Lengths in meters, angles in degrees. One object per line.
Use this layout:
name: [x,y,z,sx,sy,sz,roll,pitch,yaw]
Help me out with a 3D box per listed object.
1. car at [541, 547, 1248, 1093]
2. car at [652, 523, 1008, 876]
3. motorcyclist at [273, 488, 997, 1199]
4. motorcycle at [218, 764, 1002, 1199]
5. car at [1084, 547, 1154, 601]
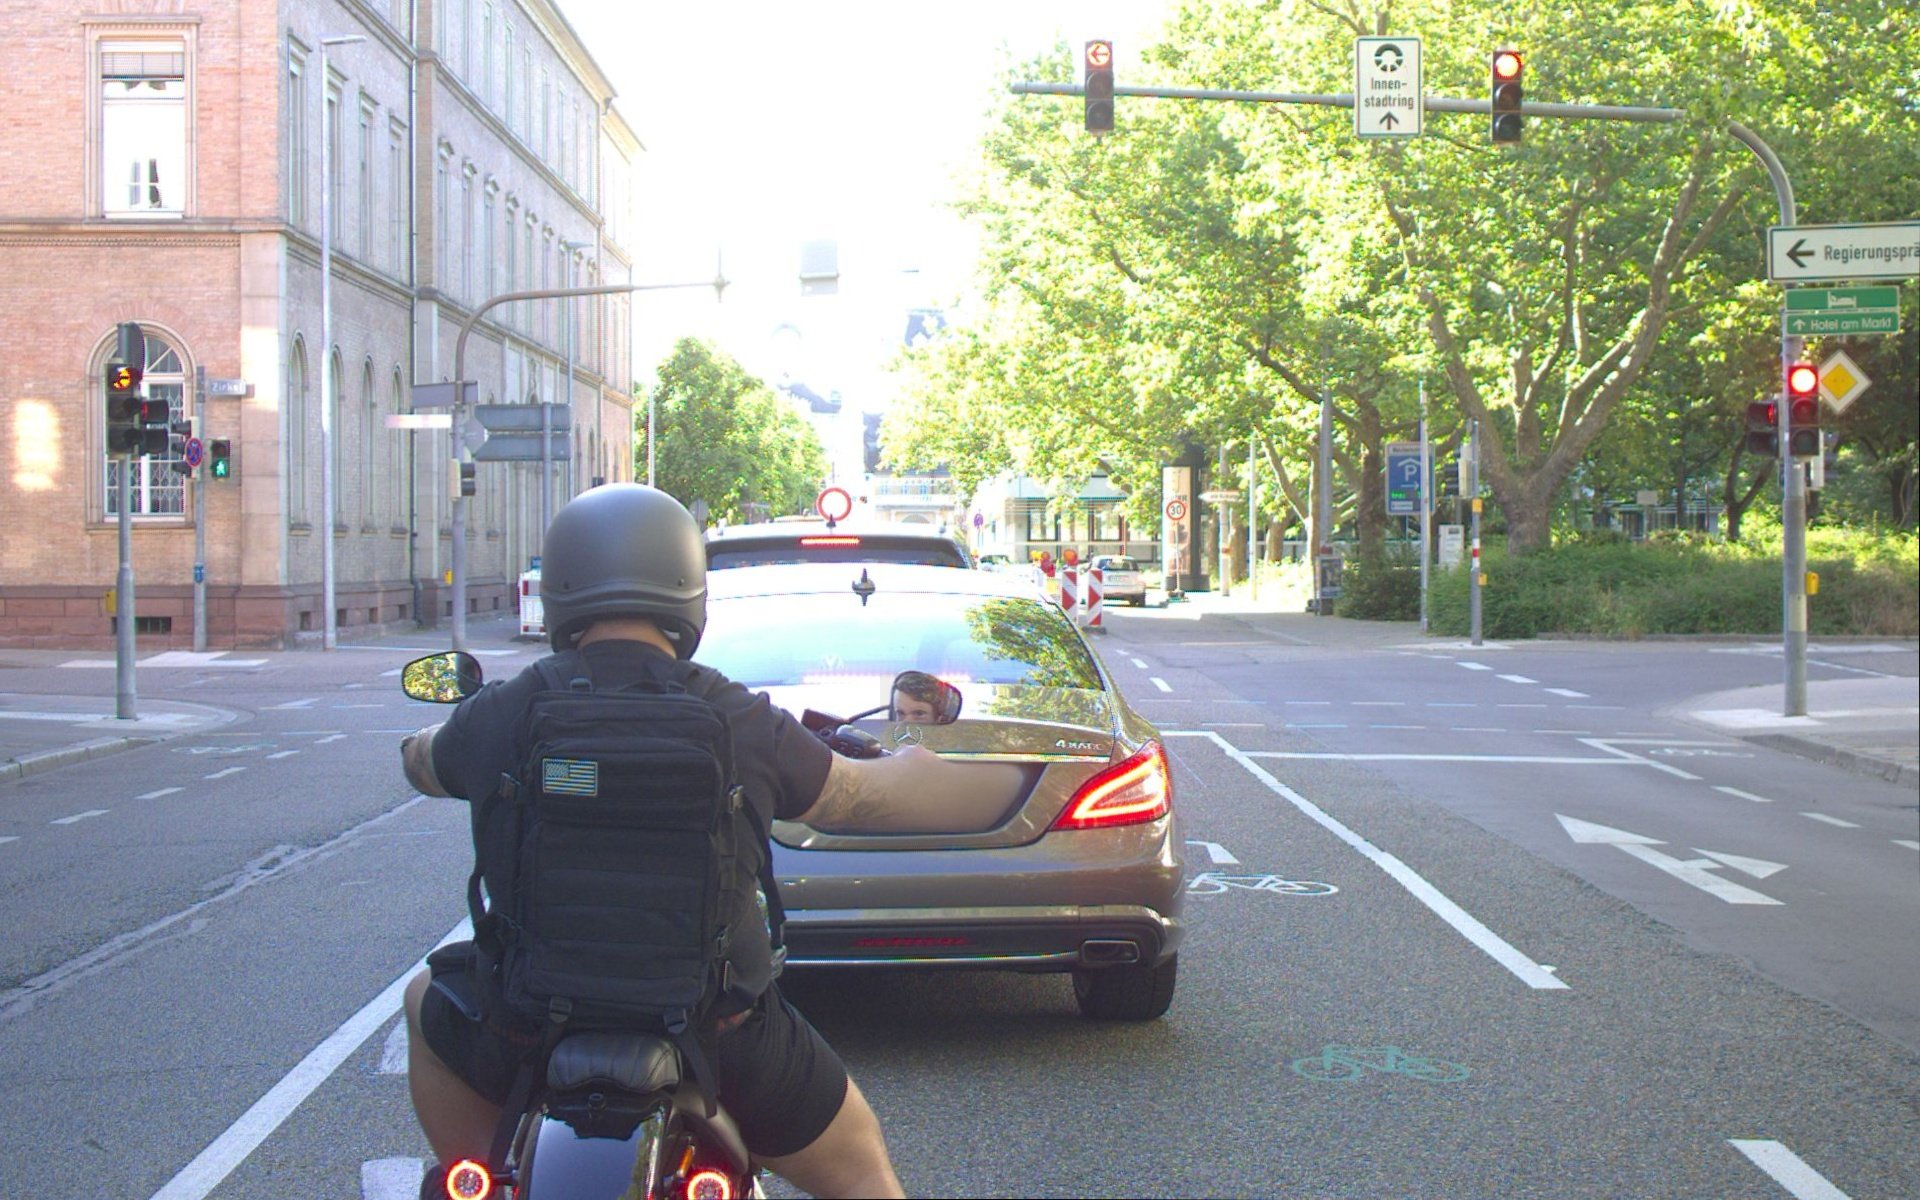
car: [-0.431,0.562,11.613,1.945,1.468,4.363,0,1,-7]
car: [-0.638,0.412,17.779,1.612,1.602,4.329,0,1,-1]
motorcyclist: [-0.452,0.629,5.419,0.989,1.591,1.404,0,1,-1]
motorcycle: [-0.456,0.884,5.577,0.989,1.075,2.452,0,1,-1]
car: [4.556,-0.759,98.912,1.821,1.475,3.908,-1,1,0]
